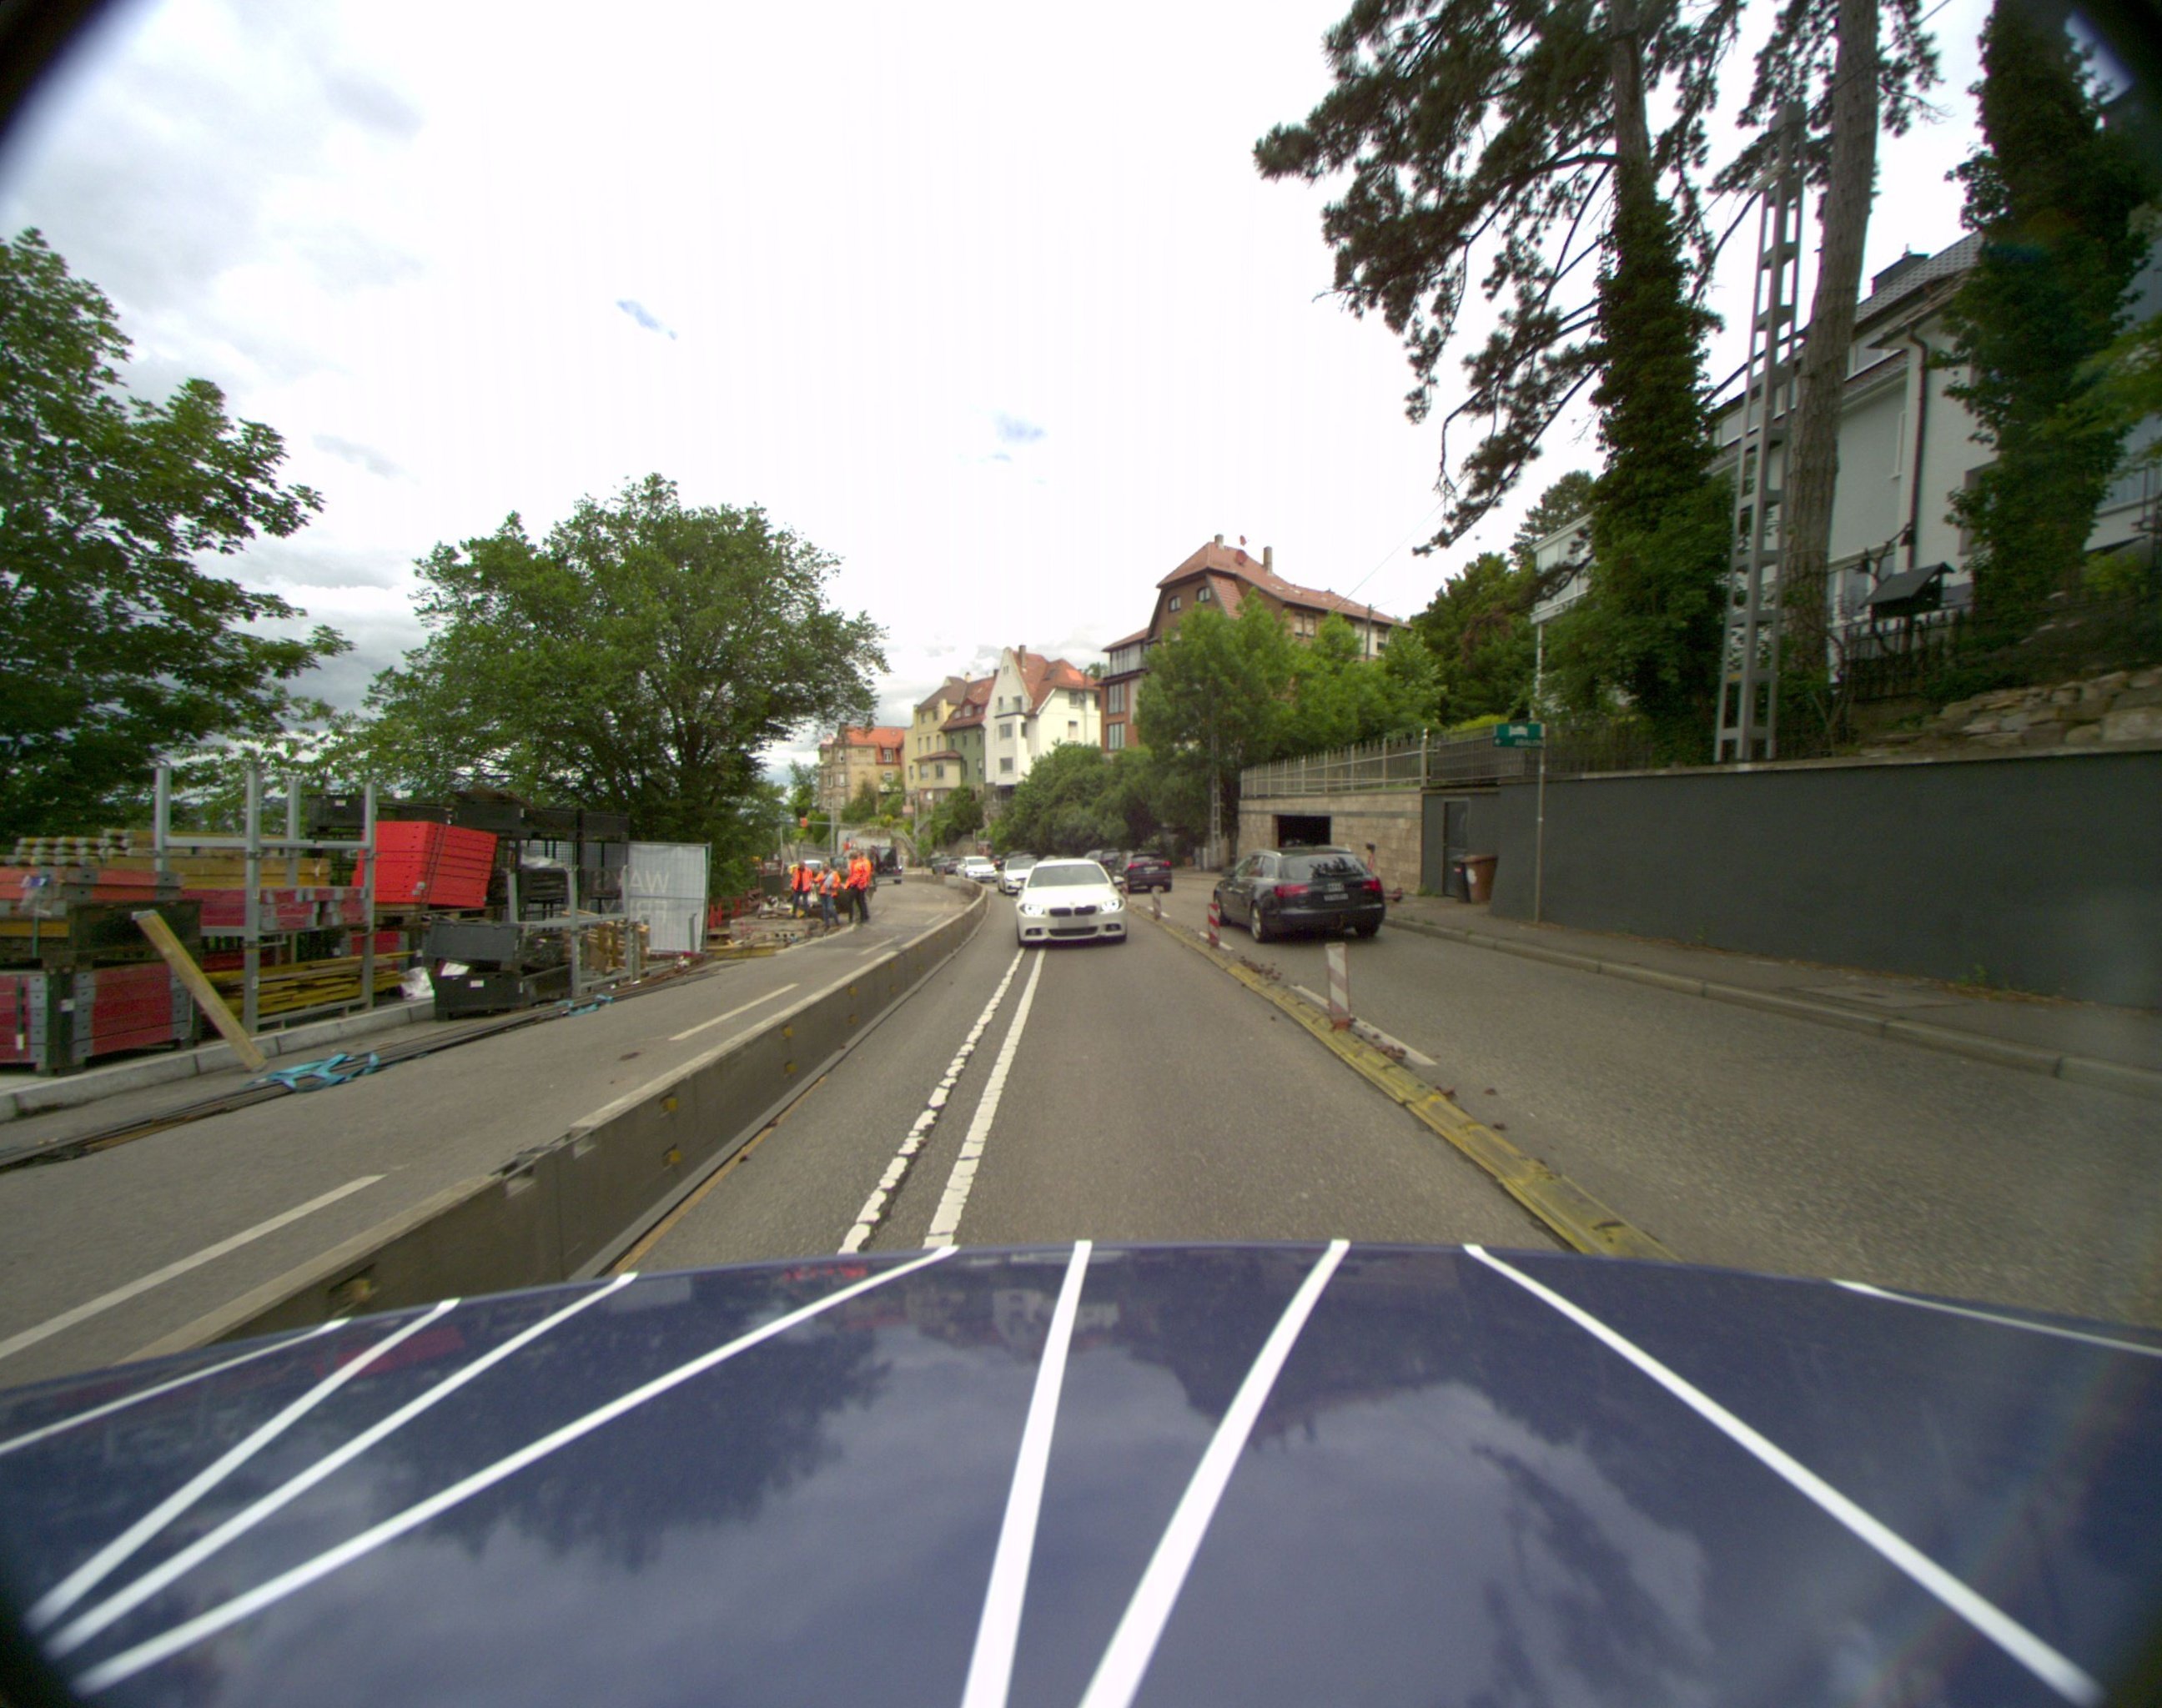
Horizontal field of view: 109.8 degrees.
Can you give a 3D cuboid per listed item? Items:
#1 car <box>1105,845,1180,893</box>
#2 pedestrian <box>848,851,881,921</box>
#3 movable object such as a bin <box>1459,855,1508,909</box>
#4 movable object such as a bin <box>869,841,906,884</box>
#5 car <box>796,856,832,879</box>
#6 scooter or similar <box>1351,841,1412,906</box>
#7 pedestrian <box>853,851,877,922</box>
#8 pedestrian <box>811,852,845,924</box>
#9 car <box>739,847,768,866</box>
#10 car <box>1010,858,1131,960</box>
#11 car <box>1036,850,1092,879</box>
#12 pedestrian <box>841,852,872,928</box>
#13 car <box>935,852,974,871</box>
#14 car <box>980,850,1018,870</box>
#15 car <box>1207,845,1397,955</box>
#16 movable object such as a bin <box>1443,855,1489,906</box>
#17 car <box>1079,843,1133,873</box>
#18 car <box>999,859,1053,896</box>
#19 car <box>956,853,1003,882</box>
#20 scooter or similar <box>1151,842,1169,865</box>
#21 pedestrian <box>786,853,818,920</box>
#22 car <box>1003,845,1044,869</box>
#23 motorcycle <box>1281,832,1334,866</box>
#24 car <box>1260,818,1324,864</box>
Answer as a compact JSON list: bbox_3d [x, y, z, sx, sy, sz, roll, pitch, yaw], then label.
[{"bbox_3d":[2.177,0.508,28.051,1.764,1.520,3.907,-4,1,-10],"label":"car"},{"bbox_3d":[-5.922,0.884,20.803,0.620,1.873,0.717,1,-2,-41],"label":"pedestrian"},{"bbox_3d":[7.436,0.507,14.048,0.544,0.933,0.601,-3,1,-2],"label":"movable object such as a bin"},{"bbox_3d":[-12.604,0.517,49.430,1.866,2.580,3.434,-3,1,-20],"label":"movable object such as a bin"},{"bbox_3d":[-21.744,1.103,61.881,1.796,1.676,3.990,-3,1,-33],"label":"car"},{"bbox_3d":[6.099,0.384,15.399,1.217,1.225,0.493,-4,2,-34],"label":"scooter or similar"},{"bbox_3d":[-5.646,0.840,19.884,0.527,1.832,0.795,1,1,-12],"label":"pedestrian"},{"bbox_3d":[-6.904,0.919,20.712,0.732,1.880,0.618,-4,0,-19],"label":"pedestrian"},{"bbox_3d":[-39.846,0.327,92.296,2.003,2.089,4.059,-4,1,-41],"label":"car"},{"bbox_3d":[-0.276,0.883,14.556,1.853,1.458,4.876,-3,1,-3],"label":"car"},{"bbox_3d":[-0.987,0.558,41.801,1.870,1.446,4.212,-3,1,-18],"label":"car"},{"bbox_3d":[-5.584,0.873,18.930,0.640,1.848,0.834,1,1,-12],"label":"pedestrian"},{"bbox_3d":[-10.687,0.650,63.908,1.803,1.462,4.191,-3,1,-31],"label":"car"},{"bbox_3d":[-6.730,0.468,62.283,1.685,1.409,3.783,-7,3,-28],"label":"car"},{"bbox_3d":[3.463,0.625,12.876,1.796,1.456,4.508,-3,1,-1],"label":"car"},{"bbox_3d":[7.415,0.494,14.653,0.544,0.933,0.601,-3,1,-2],"label":"movable object such as a bin"},{"bbox_3d":[1.347,0.208,43.041,1.825,1.426,3.710,-7,2,-17],"label":"car"},{"bbox_3d":[-2.306,0.904,30.864,1.799,1.299,4.096,-1,1,-10],"label":"car"},{"bbox_3d":[-6.116,0.768,45.390,1.889,1.569,3.993,-3,1,-20],"label":"car"},{"bbox_3d":[4.428,-0.019,42.755,0.406,1.250,0.962,-7,3,-28],"label":"scooter or similar"},{"bbox_3d":[-7.712,0.891,20.985,0.647,1.784,0.642,-5,2,-26],"label":"pedestrian"},{"bbox_3d":[-4.364,0.206,57.410,1.771,1.587,3.784,-7,3,-24],"label":"car"},{"bbox_3d":[8.752,-0.212,29.420,1.843,1.177,0.636,-3,6,2],"label":"motorcycle"},{"bbox_3d":[8.691,-0.603,31.599,1.572,1.596,3.584,-3,5,-1],"label":"car"}]
